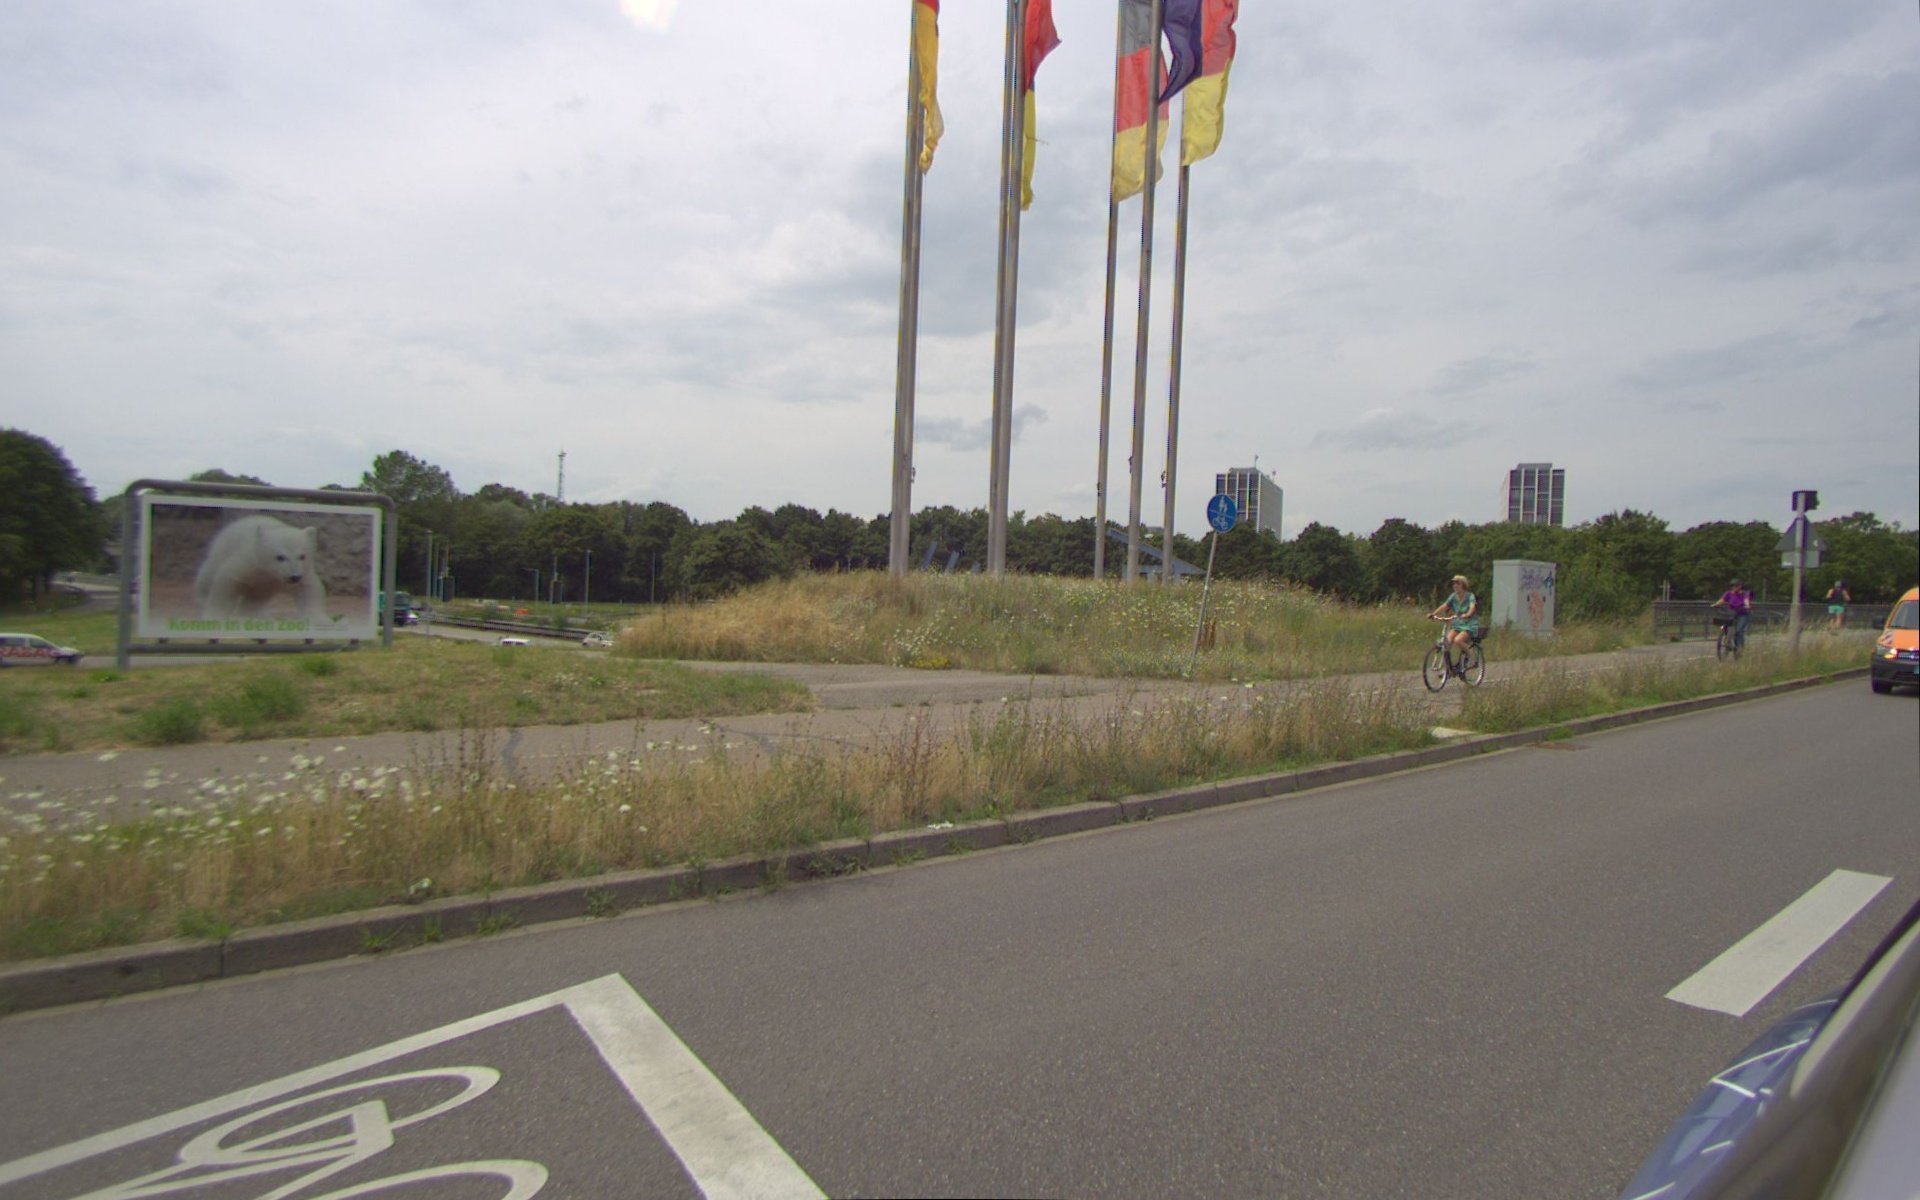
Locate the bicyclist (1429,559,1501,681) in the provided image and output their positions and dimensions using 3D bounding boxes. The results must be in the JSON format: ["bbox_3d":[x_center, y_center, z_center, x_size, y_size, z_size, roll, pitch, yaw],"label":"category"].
[{"bbox_3d":[7.295,0.274,14.613,0.657,1.686,0.623,2,3,-41],"label":"bicyclist"}]

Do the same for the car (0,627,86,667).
[{"bbox_3d":[-52.810,2.636,56.967,1.991,2.039,5.174,2,1,40],"label":"car"}]

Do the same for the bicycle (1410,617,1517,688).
[{"bbox_3d":[7.336,0.728,14.703,2.117,0.899,0.624,0,1,-41],"label":"bicycle"}]

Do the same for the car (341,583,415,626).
[{"bbox_3d":[-57.306,0.388,99.630,7.458,3.946,3.305,2,0,33],"label":"car"}]

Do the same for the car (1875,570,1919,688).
[{"bbox_3d":[16.983,0.494,16.964,4.352,1.859,1.891,1,0,-40],"label":"car"}]

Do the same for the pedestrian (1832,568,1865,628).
[{"bbox_3d":[30.748,-0.076,35.015,0.656,2.038,0.629,2,2,-39],"label":"pedestrian"}]

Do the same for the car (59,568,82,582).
[{"bbox_3d":[-172.410,-4.811,196.127,4.325,2.522,2.060,2,0,30],"label":"car"}]

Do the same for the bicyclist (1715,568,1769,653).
[{"bbox_3d":[16.871,0.209,21.822,0.974,1.777,0.704,1,1,-41],"label":"bicyclist"}]

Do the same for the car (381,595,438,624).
[{"bbox_3d":[-56.563,0.921,104.001,6.046,2.691,2.530,2,0,32],"label":"car"}]

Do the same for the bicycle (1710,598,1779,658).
[{"bbox_3d":[16.872,0.577,21.740,2.418,1.207,0.695,1,2,-41],"label":"bicycle"}]
